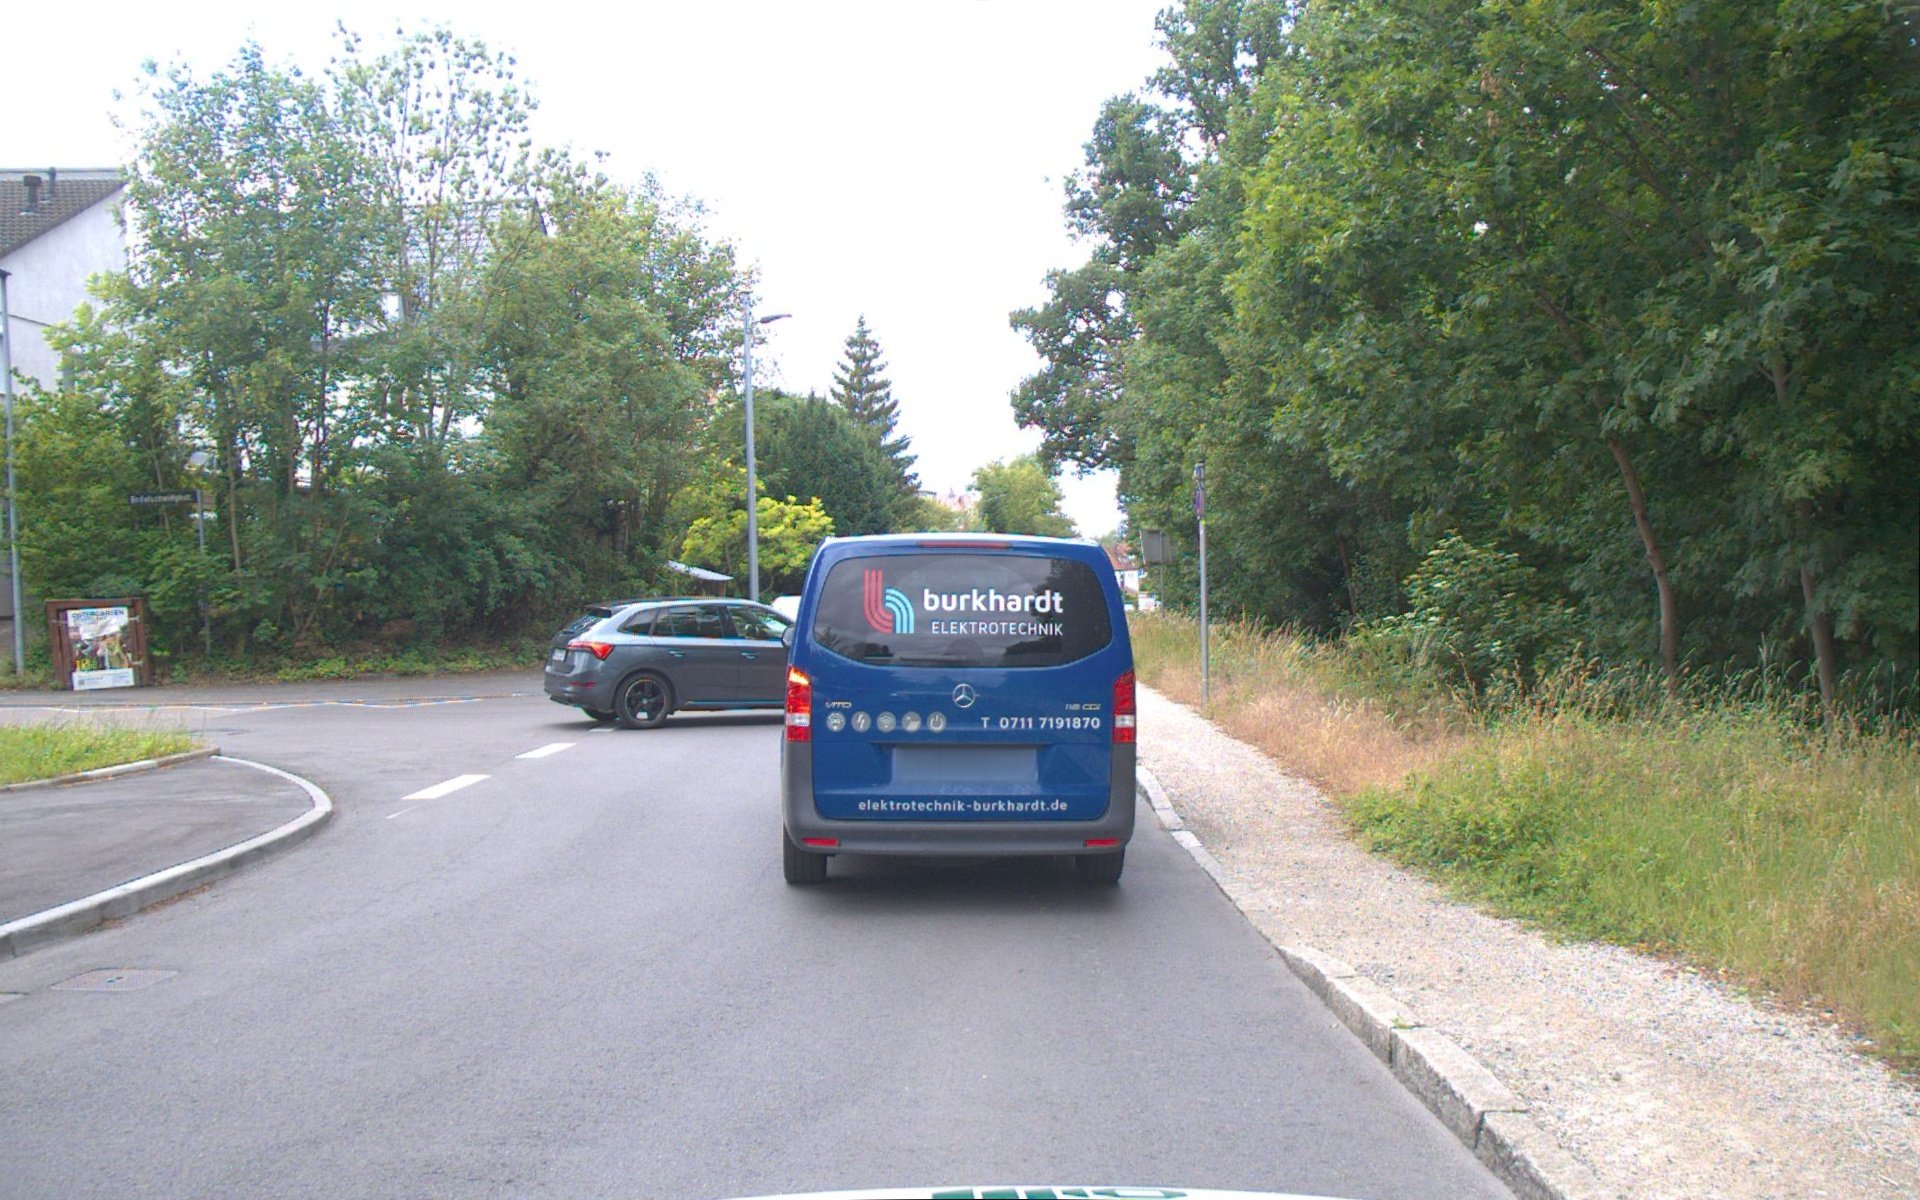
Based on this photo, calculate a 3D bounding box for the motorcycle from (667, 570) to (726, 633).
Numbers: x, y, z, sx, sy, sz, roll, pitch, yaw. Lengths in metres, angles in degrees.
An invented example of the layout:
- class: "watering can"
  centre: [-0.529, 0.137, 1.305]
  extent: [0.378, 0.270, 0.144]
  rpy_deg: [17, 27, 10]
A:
- class: "motorcycle"
  centre: [-6.572, 0.041, 41.463]
  extent: [0.792, 1.511, 2.897]
  rpy_deg: [0, 0, 4]

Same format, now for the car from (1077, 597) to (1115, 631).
- class: "car"
  centre: [8.794, 0.847, 106.733]
  extent: [2.159, 2.100, 6.139]
  rpy_deg: [0, 0, 7]

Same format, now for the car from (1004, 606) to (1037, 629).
- class: "car"
  centre: [3.926, 1.103, 106.963]
  extent: [1.711, 1.429, 4.003]
  rpy_deg: [0, 0, 8]

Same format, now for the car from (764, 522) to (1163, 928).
- class: "car"
  centre: [-0.111, 0.566, 10.115]
  extent: [1.898, 1.913, 4.527]
  rpy_deg: [0, 1, -4]

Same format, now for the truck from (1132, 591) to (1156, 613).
- class: "truck"
  centre: [24.092, 0.243, 216.228]
  extent: [2.704, 2.842, 9.276]
  rpy_deg: [0, 0, 8]

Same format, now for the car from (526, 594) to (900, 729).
- class: "car"
  centre: [-2.930, 0.681, 19.675]
  extent: [4.113, 1.472, 1.727]
  rpy_deg: [0, 0, -25]

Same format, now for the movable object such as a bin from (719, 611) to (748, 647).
- class: "movable object such as a bin"
  centre: [-5.969, 0.766, 43.531]
  extent: [0.578, 0.925, 0.701]
  rpy_deg: [0, 0, 9]

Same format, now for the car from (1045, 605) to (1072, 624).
- class: "car"
  centre: [7.500, 1.074, 125.841]
  extent: [1.711, 1.429, 4.003]
  rpy_deg: [0, 0, 8]

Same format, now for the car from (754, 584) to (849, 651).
- class: "car"
  centre: [-3.682, 0.401, 39.094]
  extent: [1.670, 1.493, 4.077]
  rpy_deg: [0, 0, 2]
